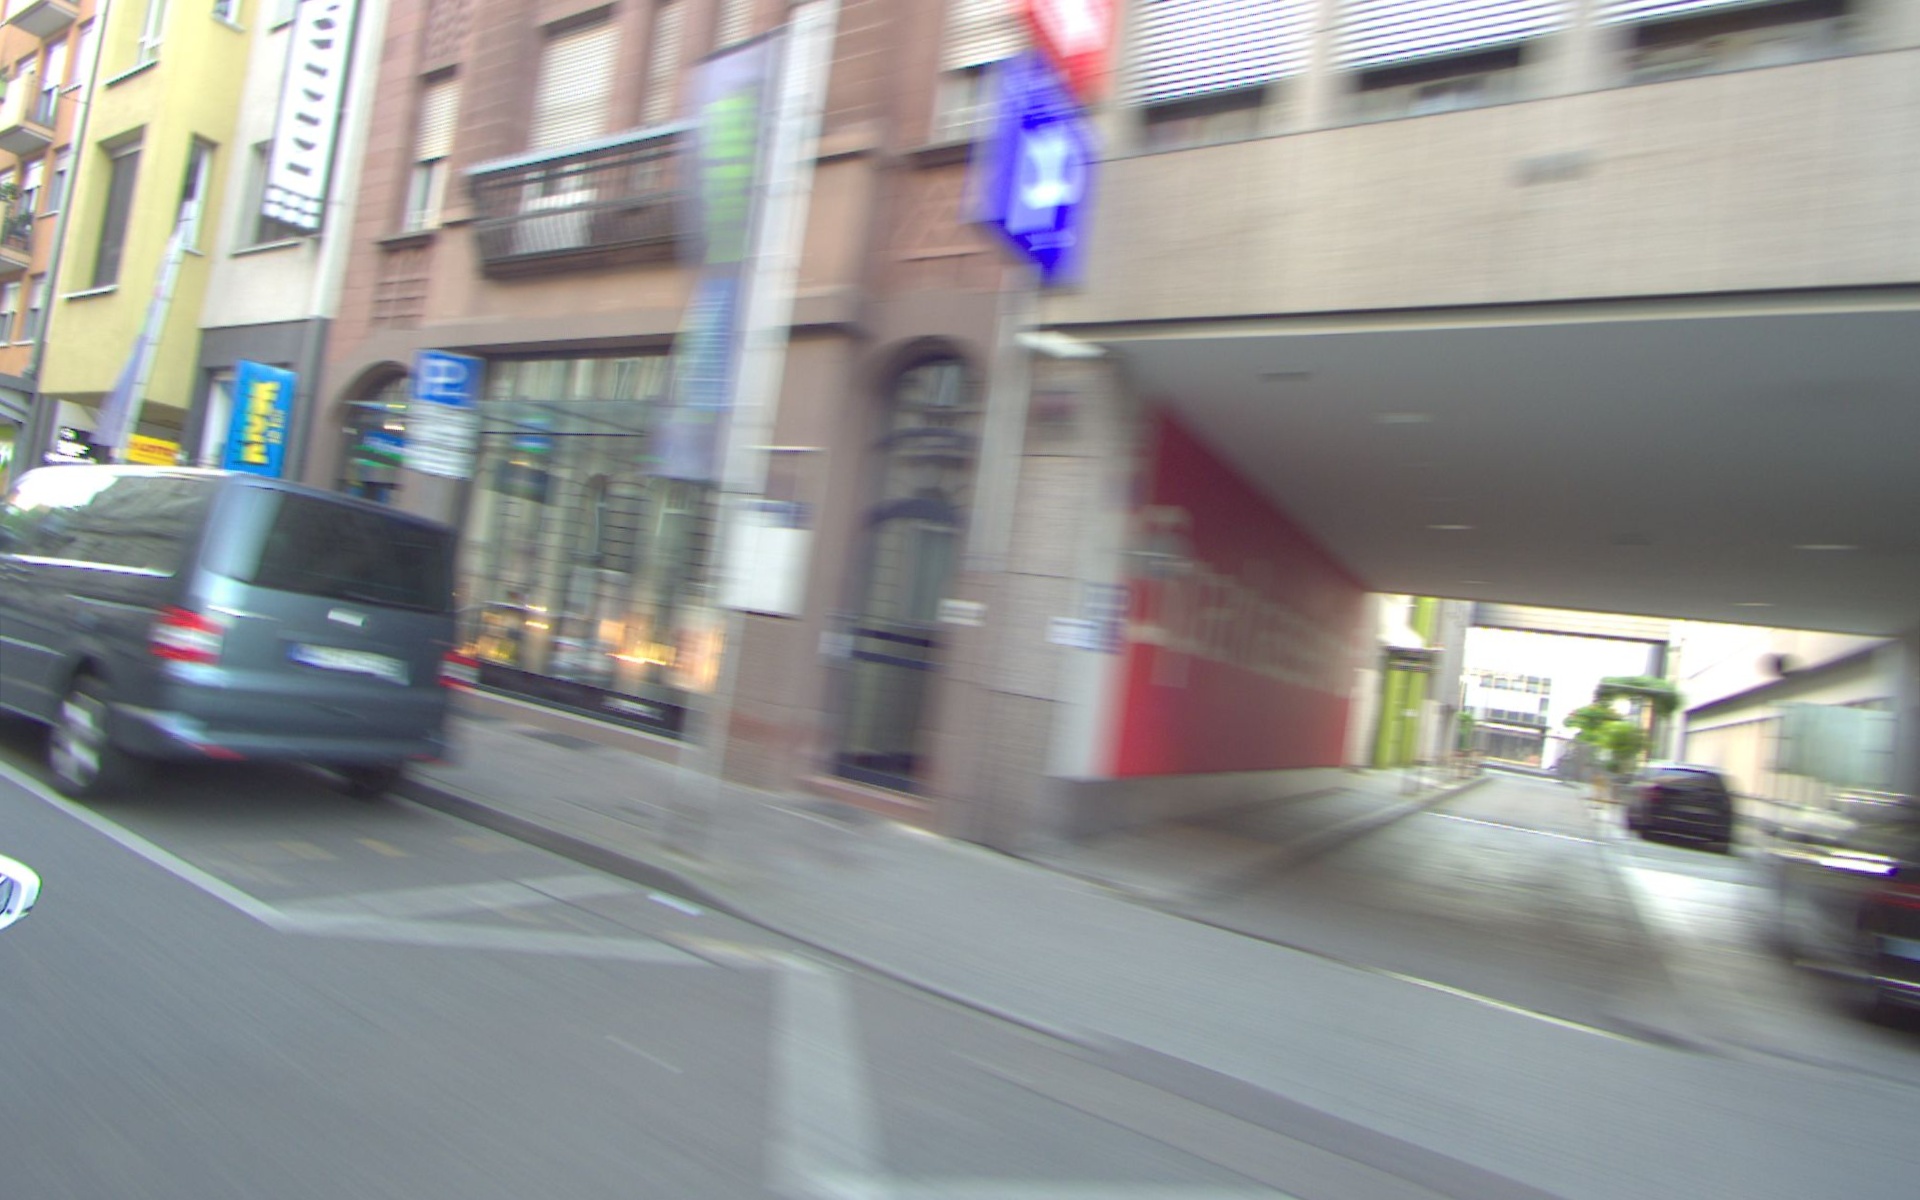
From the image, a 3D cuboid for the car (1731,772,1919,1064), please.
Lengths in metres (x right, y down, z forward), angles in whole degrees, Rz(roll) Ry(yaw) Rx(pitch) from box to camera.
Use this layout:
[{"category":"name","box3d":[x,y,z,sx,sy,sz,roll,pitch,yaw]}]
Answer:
[{"category":"car","box3d":[7.062,2.156,7.085,1.885,1.517,4.417,6,-5,30]}]

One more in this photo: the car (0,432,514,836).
[{"category":"car","box3d":[-5.726,0.075,7.253,4.970,2.079,1.852,6,-4,32]}]

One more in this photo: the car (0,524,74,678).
[{"category":"car","box3d":[-11.632,-0.280,10.963,4.425,1.467,1.692,7,-5,33]}]

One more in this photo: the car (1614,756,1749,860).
[{"category":"car","box3d":[14.183,4.019,19.967,1.676,1.575,3.688,6,-5,30]}]
